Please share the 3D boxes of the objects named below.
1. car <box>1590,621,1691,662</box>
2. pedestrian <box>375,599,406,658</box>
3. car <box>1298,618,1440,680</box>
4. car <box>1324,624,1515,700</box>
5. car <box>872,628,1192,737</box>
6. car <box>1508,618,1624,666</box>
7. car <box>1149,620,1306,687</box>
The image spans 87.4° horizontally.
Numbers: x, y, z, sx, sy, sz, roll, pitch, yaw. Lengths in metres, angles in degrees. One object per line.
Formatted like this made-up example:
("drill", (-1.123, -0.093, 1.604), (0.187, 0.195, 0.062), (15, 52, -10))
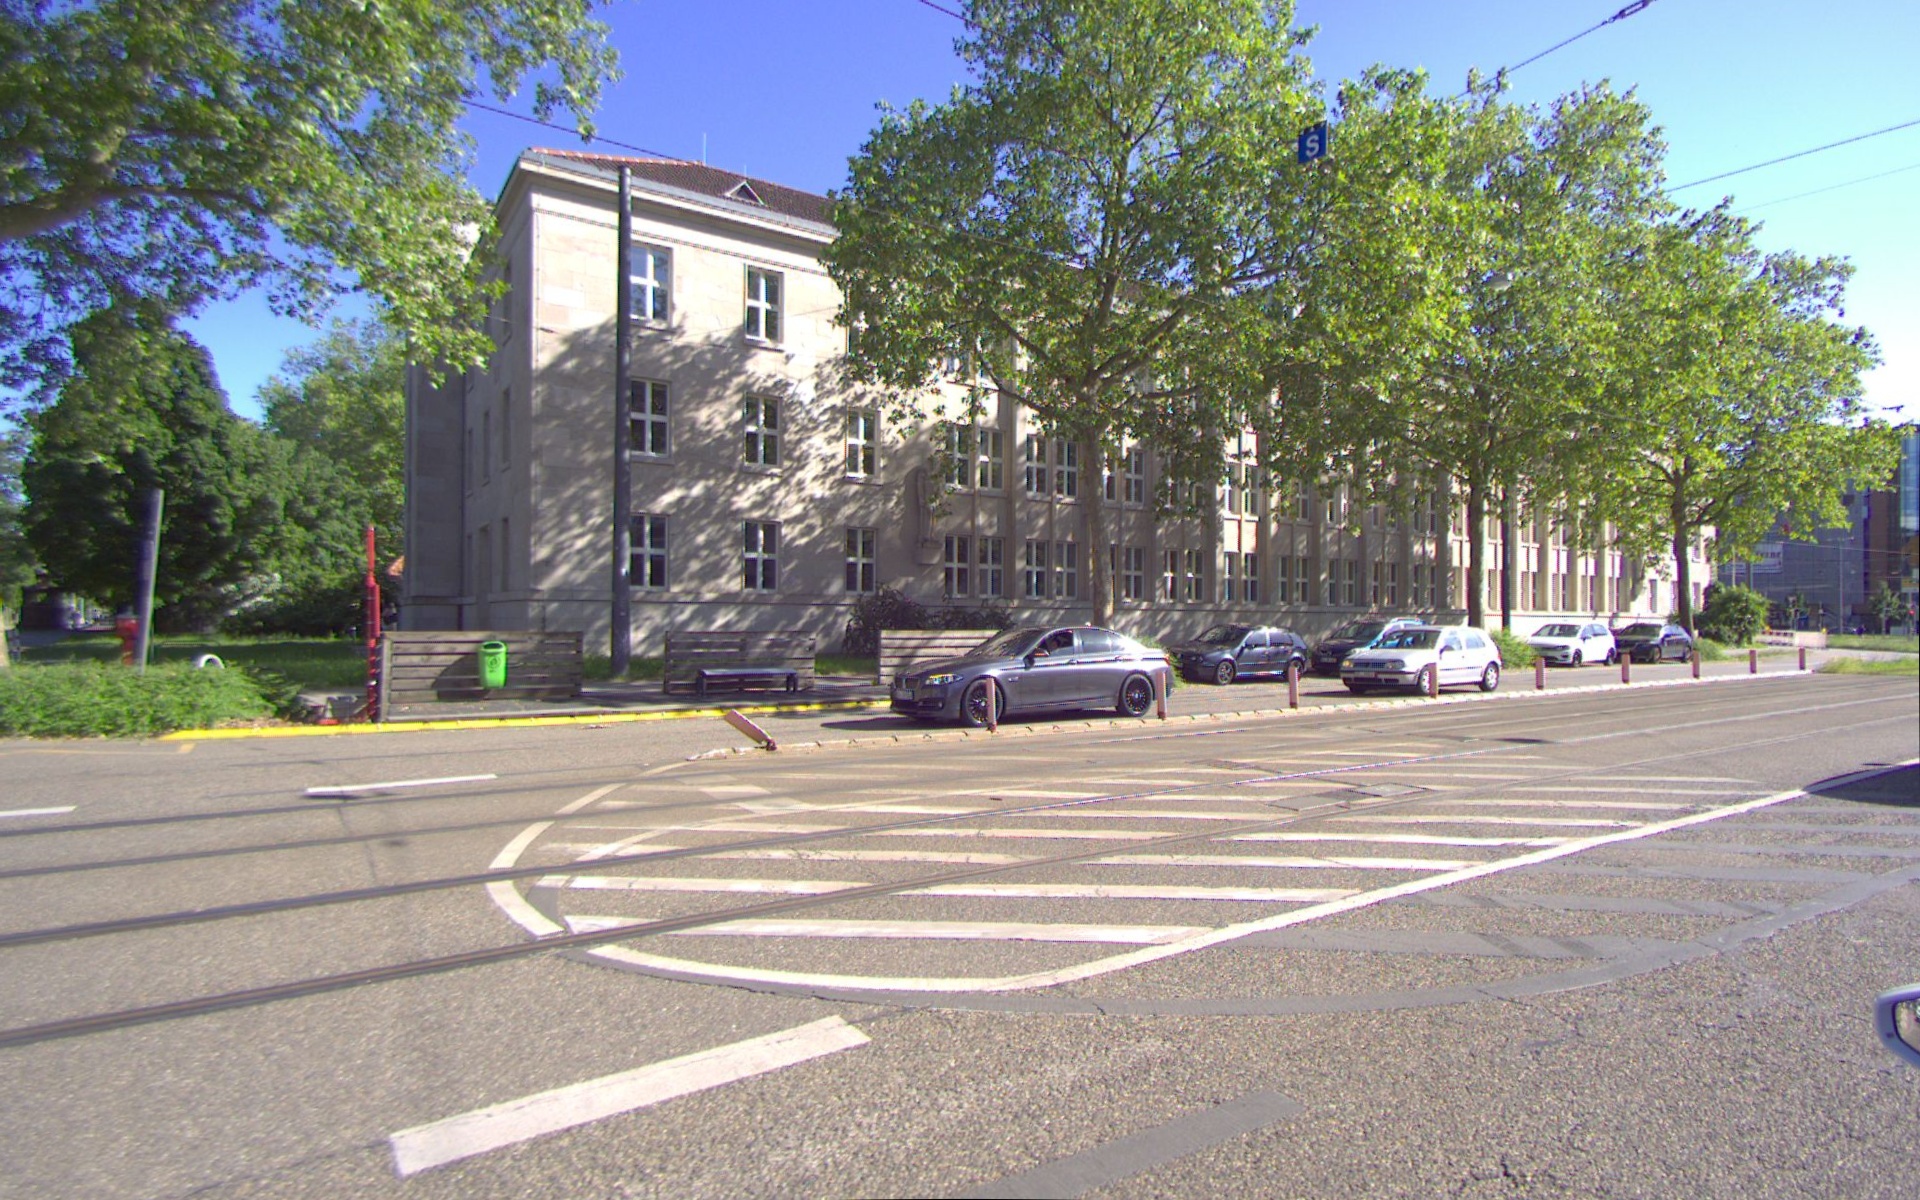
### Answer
("car", (26.407, 1.556, 38.948), (4.137, 1.512, 1.819), (1, -1, -34))
("pedestrian", (-18.930, 0.928, 33.385), (0.892, 1.921, 0.805), (0, -1, -30))
("car", (11.801, 1.342, 28.896), (4.354, 1.661, 1.817), (1, -1, -37))
("car", (9.884, 1.261, 21.528), (4.126, 1.472, 1.819), (1, -2, -34))
("car", (1.213, 1.195, 15.828), (4.904, 1.472, 1.821), (1, -2, -31))
("car", (21.355, 1.447, 35.351), (4.350, 1.608, 1.819), (1, -2, -34))
("car", (6.842, 1.301, 25.529), (4.149, 1.568, 1.660), (1, -1, -37))
